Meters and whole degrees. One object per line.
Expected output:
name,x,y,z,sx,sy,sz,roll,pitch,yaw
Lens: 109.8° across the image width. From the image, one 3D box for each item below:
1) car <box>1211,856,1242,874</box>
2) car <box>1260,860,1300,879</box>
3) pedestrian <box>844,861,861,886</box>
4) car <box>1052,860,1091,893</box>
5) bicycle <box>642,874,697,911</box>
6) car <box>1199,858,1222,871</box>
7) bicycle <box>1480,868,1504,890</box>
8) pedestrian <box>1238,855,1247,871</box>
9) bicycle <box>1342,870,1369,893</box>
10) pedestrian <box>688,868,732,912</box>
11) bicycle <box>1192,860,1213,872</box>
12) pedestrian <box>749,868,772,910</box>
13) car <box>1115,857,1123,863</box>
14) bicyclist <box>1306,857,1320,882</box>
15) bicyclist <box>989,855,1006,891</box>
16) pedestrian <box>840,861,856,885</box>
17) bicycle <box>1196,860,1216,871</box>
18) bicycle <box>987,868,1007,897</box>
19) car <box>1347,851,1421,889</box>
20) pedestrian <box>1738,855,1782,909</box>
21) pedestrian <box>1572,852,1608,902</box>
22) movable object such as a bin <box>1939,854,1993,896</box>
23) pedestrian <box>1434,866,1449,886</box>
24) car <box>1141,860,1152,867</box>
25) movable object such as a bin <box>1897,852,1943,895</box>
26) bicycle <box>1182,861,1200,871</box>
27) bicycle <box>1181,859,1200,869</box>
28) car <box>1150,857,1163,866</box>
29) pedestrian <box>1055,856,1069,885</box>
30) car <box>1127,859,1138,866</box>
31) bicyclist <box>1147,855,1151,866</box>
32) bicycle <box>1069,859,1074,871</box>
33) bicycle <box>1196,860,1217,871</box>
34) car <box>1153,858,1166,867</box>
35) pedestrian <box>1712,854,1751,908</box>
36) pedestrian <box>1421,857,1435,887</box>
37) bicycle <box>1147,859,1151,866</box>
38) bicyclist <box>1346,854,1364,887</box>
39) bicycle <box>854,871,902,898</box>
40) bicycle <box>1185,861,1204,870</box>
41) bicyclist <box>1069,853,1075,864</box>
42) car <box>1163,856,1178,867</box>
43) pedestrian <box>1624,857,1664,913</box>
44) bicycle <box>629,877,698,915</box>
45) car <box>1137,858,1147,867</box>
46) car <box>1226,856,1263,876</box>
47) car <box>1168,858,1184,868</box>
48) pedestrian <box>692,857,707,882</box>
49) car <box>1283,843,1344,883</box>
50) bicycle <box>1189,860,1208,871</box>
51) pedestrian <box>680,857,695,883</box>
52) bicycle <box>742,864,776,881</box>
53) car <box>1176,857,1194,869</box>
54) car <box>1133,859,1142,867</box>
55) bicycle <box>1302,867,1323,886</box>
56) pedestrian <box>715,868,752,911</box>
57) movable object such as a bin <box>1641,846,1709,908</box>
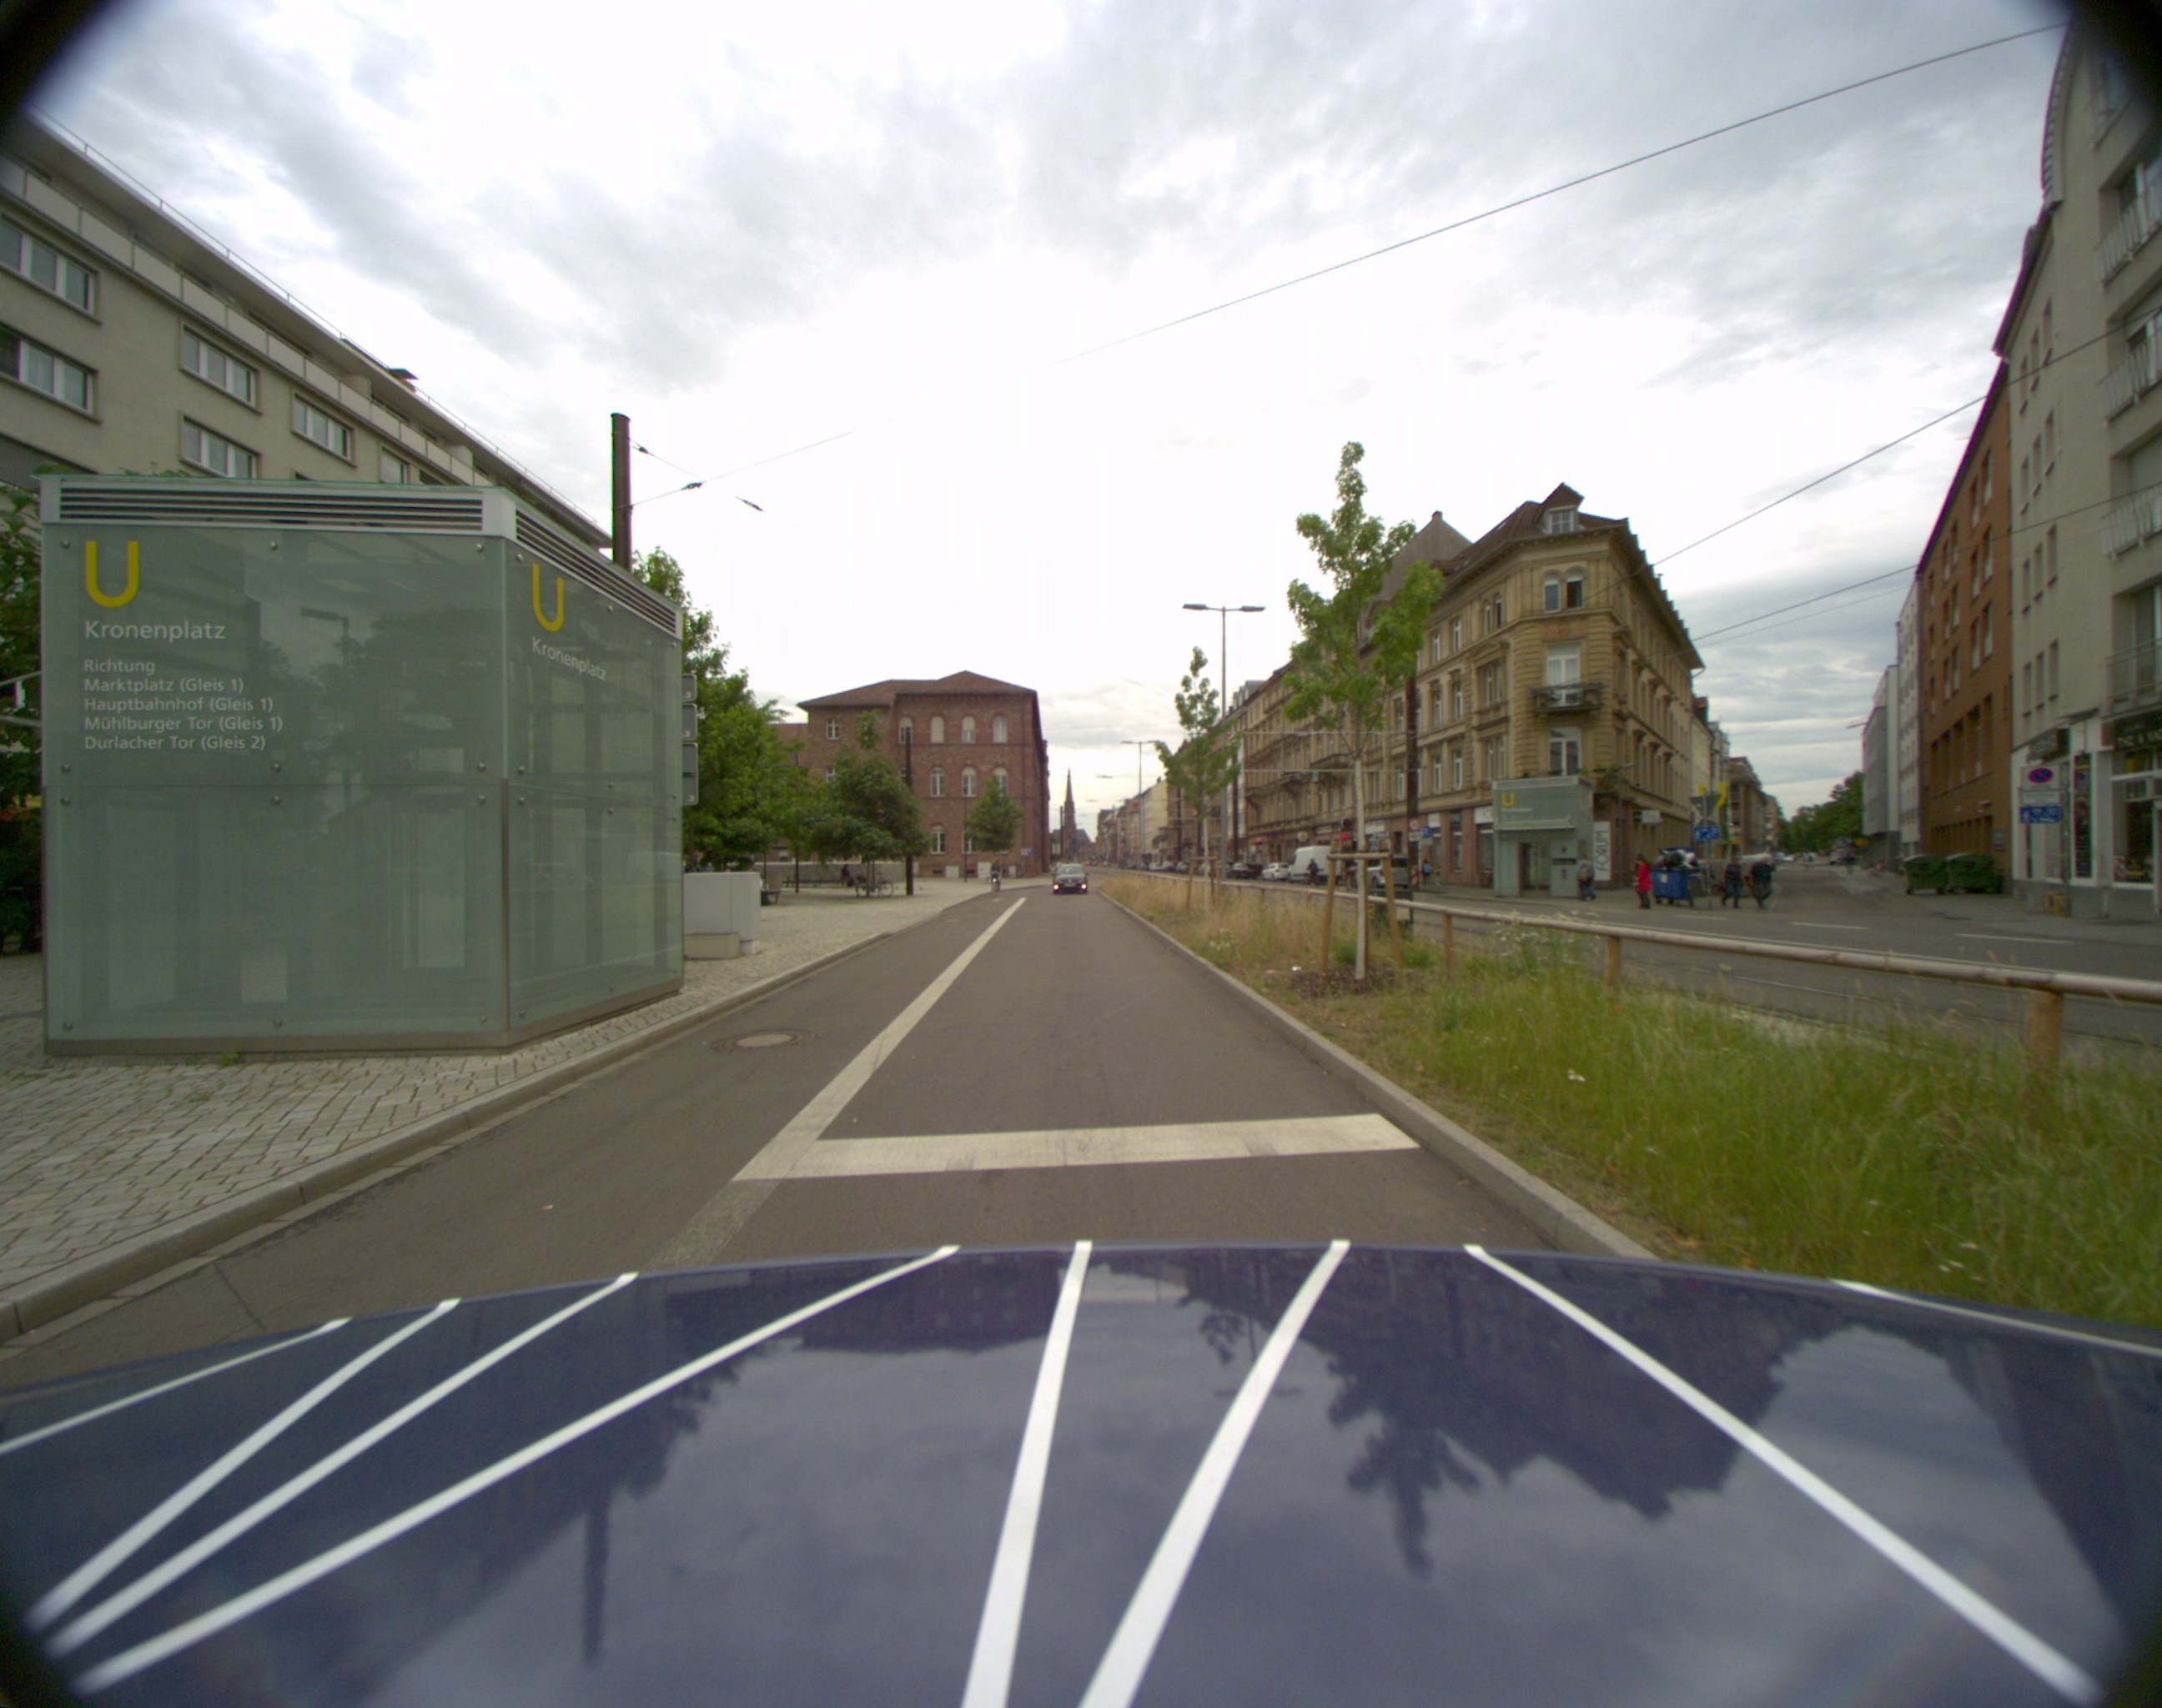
car,14.669,1.093,76.750,1.818,1.679,5.030,0,-1,-4
car,15.258,1.166,58.391,1.776,1.414,4.164,2,0,-3
pedestrian,-13.841,1.185,46.015,0.781,1.447,0.766,2,0,-31
car,-0.512,1.075,37.846,1.748,1.538,3.649,-1,0,-3
bicycle,-12.801,1.182,23.632,1.602,1.104,0.478,1,0,13
car,14.439,1.158,84.753,1.748,1.479,3.919,0,-1,-2
bicycle,19.498,1.177,36.086,0.340,0.953,1.688,-2,0,5
pedestrian,17.793,1.005,83.874,0.653,1.772,0.787,-1,0,35
bicycle,12.812,1.254,35.508,0.477,1.015,1.911,0,0,-3
pedestrian,-12.268,1.181,25.176,0.543,1.358,1.282,-1,0,16
bicycle,14.475,1.430,90.571,2.288,1.321,0.666,1,0,-1
pedestrian,-10.816,1.159,25.637,0.630,1.358,0.686,-2,0,-20
car,10.422,1.675,208.136,1.868,1.553,3.999,1,0,-1
bicyclist,13.008,0.861,42.597,0.480,1.398,0.812,0,0,-3
bicyclist,-3.891,0.885,35.449,0.570,1.674,0.794,-1,1,6
pedestrian,-14.320,1.178,46.687,0.781,1.447,0.766,2,0,-31
bicycle,14.580,1.350,88.663,2.288,1.321,0.521,1,0,-1
bicycle,-3.908,1.319,35.369,0.524,1.253,1.942,0,0,5
car,15.826,0.821,39.948,1.908,1.853,4.519,1,0,-3
pedestrian,21.662,0.865,24.268,0.661,1.677,0.924,0,2,14
pedestrian,17.582,0.785,26.274,0.823,1.677,0.723,0,2,16
movable object such as a bin,31.111,0.729,26.734,1.008,1.397,1.241,-1,0,40
pedestrian,18.583,1.133,39.203,0.554,1.025,0.453,-2,0,7
car,13.015,1.938,151.794,1.652,1.372,3.435,0,-1,-5
movable object such as a bin,30.320,0.701,27.477,0.944,1.492,1.241,-1,0,40
bicycle,14.299,1.549,98.948,2.288,1.196,0.547,-1,0,-1
bicycle,14.179,1.277,98.258,2.288,1.196,0.705,1,0,-1
car,13.518,1.339,136.858,1.829,1.512,4.545,0,-1,-1
pedestrian,-1.274,1.057,49.993,0.872,1.890,0.773,1,0,-3
car,12.024,1.967,177.610,1.929,1.722,3.826,-2,0,-2
bicyclist,11.470,1.116,128.430,0.647,1.872,1.028,-2,0,0
bicycle,-0.952,1.127,79.324,0.472,1.151,2.272,0,0,-2
bicycle,14.508,1.329,87.940,2.288,1.321,0.666,1,0,-1
car,13.610,1.511,132.372,1.748,1.456,4.045,0,-1,-2
pedestrian,20.977,0.852,24.509,0.661,1.677,0.723,0,2,14
pedestrian,17.974,0.942,39.380,0.554,1.547,0.658,-1,0,16
bicycle,11.508,1.494,128.494,0.586,1.167,2.045,1,0,0
bicyclist,12.821,0.761,35.592,0.492,1.531,0.812,0,0,-3
bicycle,-8.927,1.320,33.409,1.917,1.116,0.645,-2,0,9
bicycle,14.437,1.462,96.967,2.288,1.196,0.705,1,0,-1
bicyclist,-0.932,0.471,79.342,0.587,1.164,0.662,0,0,-2
car,13.932,1.147,117.990,1.748,1.662,4.045,0,-1,-2
pedestrian,17.206,0.940,23.223,0.723,1.677,0.661,-1,2,-12
bicycle,-12.668,1.258,23.039,2.037,1.104,0.478,1,0,14
car,12.461,1.673,156.366,1.707,1.746,3.919,0,0,0
car,14.539,1.073,67.893,1.924,1.679,5.051,2,0,-3
car,14.147,1.305,113.120,1.748,1.479,3.920,0,-1,-1
pedestrian,-25.587,1.070,50.984,0.642,1.660,0.592,0,-1,19
car,15.396,0.595,50.671,2.058,2.472,5.664,2,0,-3
bicycle,14.562,1.462,94.226,2.288,1.321,0.666,1,0,-1
pedestrian,-25.831,1.056,49.919,0.642,1.660,0.592,0,-1,14
bicycle,-21.132,1.209,49.857,2.029,1.058,0.470,1,0,-3
car,14.095,1.179,102.898,1.748,1.524,4.225,0,-1,-2
car,12.388,1.943,166.614,1.705,1.662,4.181,-2,0,0
bicycle,13.027,1.255,42.825,0.480,1.015,1.911,0,0,-3
pedestrian,-11.525,1.171,25.209,0.629,1.358,0.920,-2,0,16
movable object such as a bin,19.584,0.734,25.098,1.033,1.970,1.617,0,2,5
